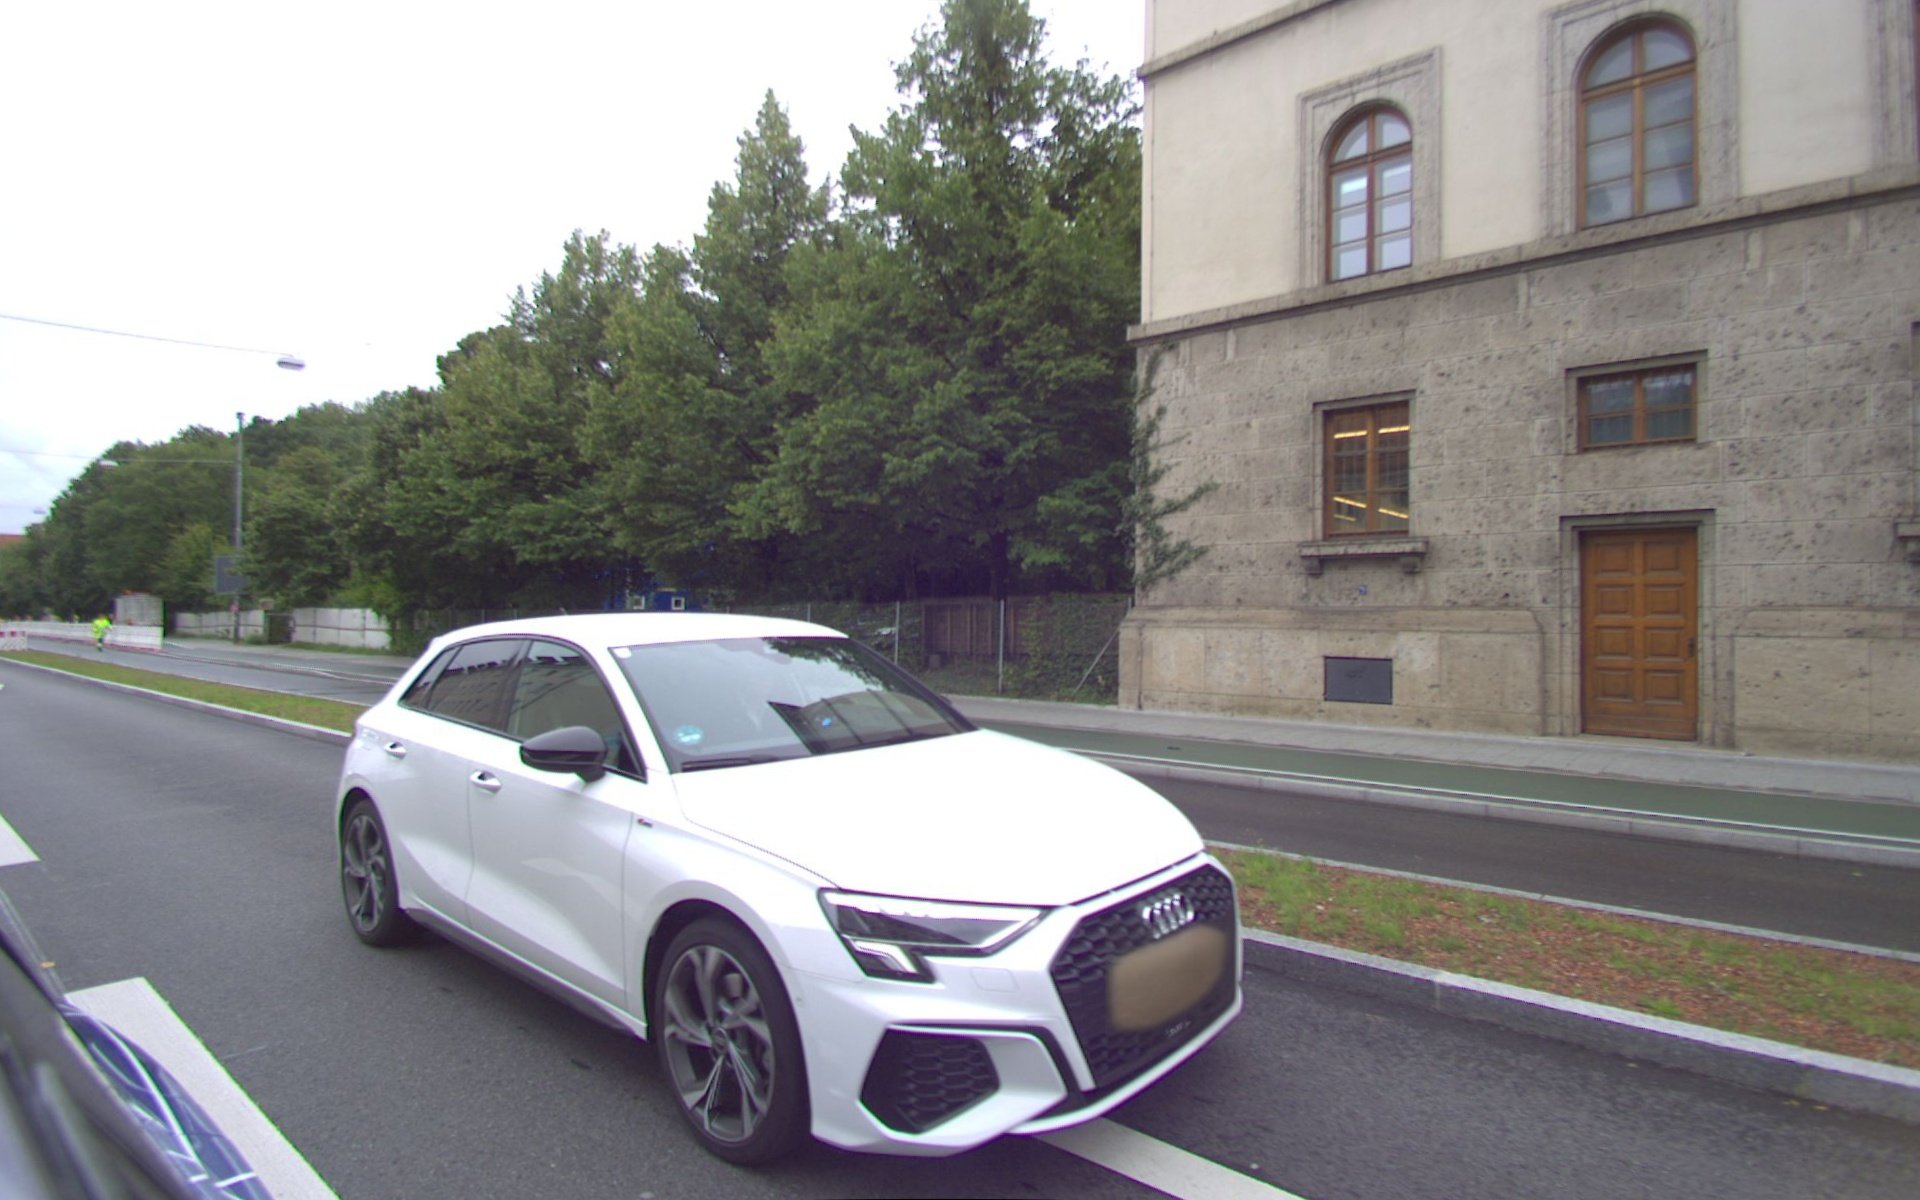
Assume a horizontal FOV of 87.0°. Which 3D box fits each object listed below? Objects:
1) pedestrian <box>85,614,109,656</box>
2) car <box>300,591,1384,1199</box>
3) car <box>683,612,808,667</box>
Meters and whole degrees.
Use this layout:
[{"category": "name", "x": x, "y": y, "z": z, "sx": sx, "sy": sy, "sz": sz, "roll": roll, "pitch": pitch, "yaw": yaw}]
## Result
[{"category": "pedestrian", "x": -41.834, "y": 1.677, "z": 49.056, "sx": 0.867, "sy": 2.029, "sz": 0.747, "roll": -1, "pitch": -1, "yaw": 41}, {"category": "car", "x": -0.908, "y": 0.728, "z": 4.028, "sx": 4.451, "sy": 1.435, "sz": 1.794, "roll": -1, "pitch": 0, "yaw": 42}, {"category": "car", "x": -7.544, "y": 1.340, "z": 35.825, "sx": 1.877, "sy": 1.722, "sz": 3.981, "roll": 2, "pitch": 1, "yaw": 45}]
